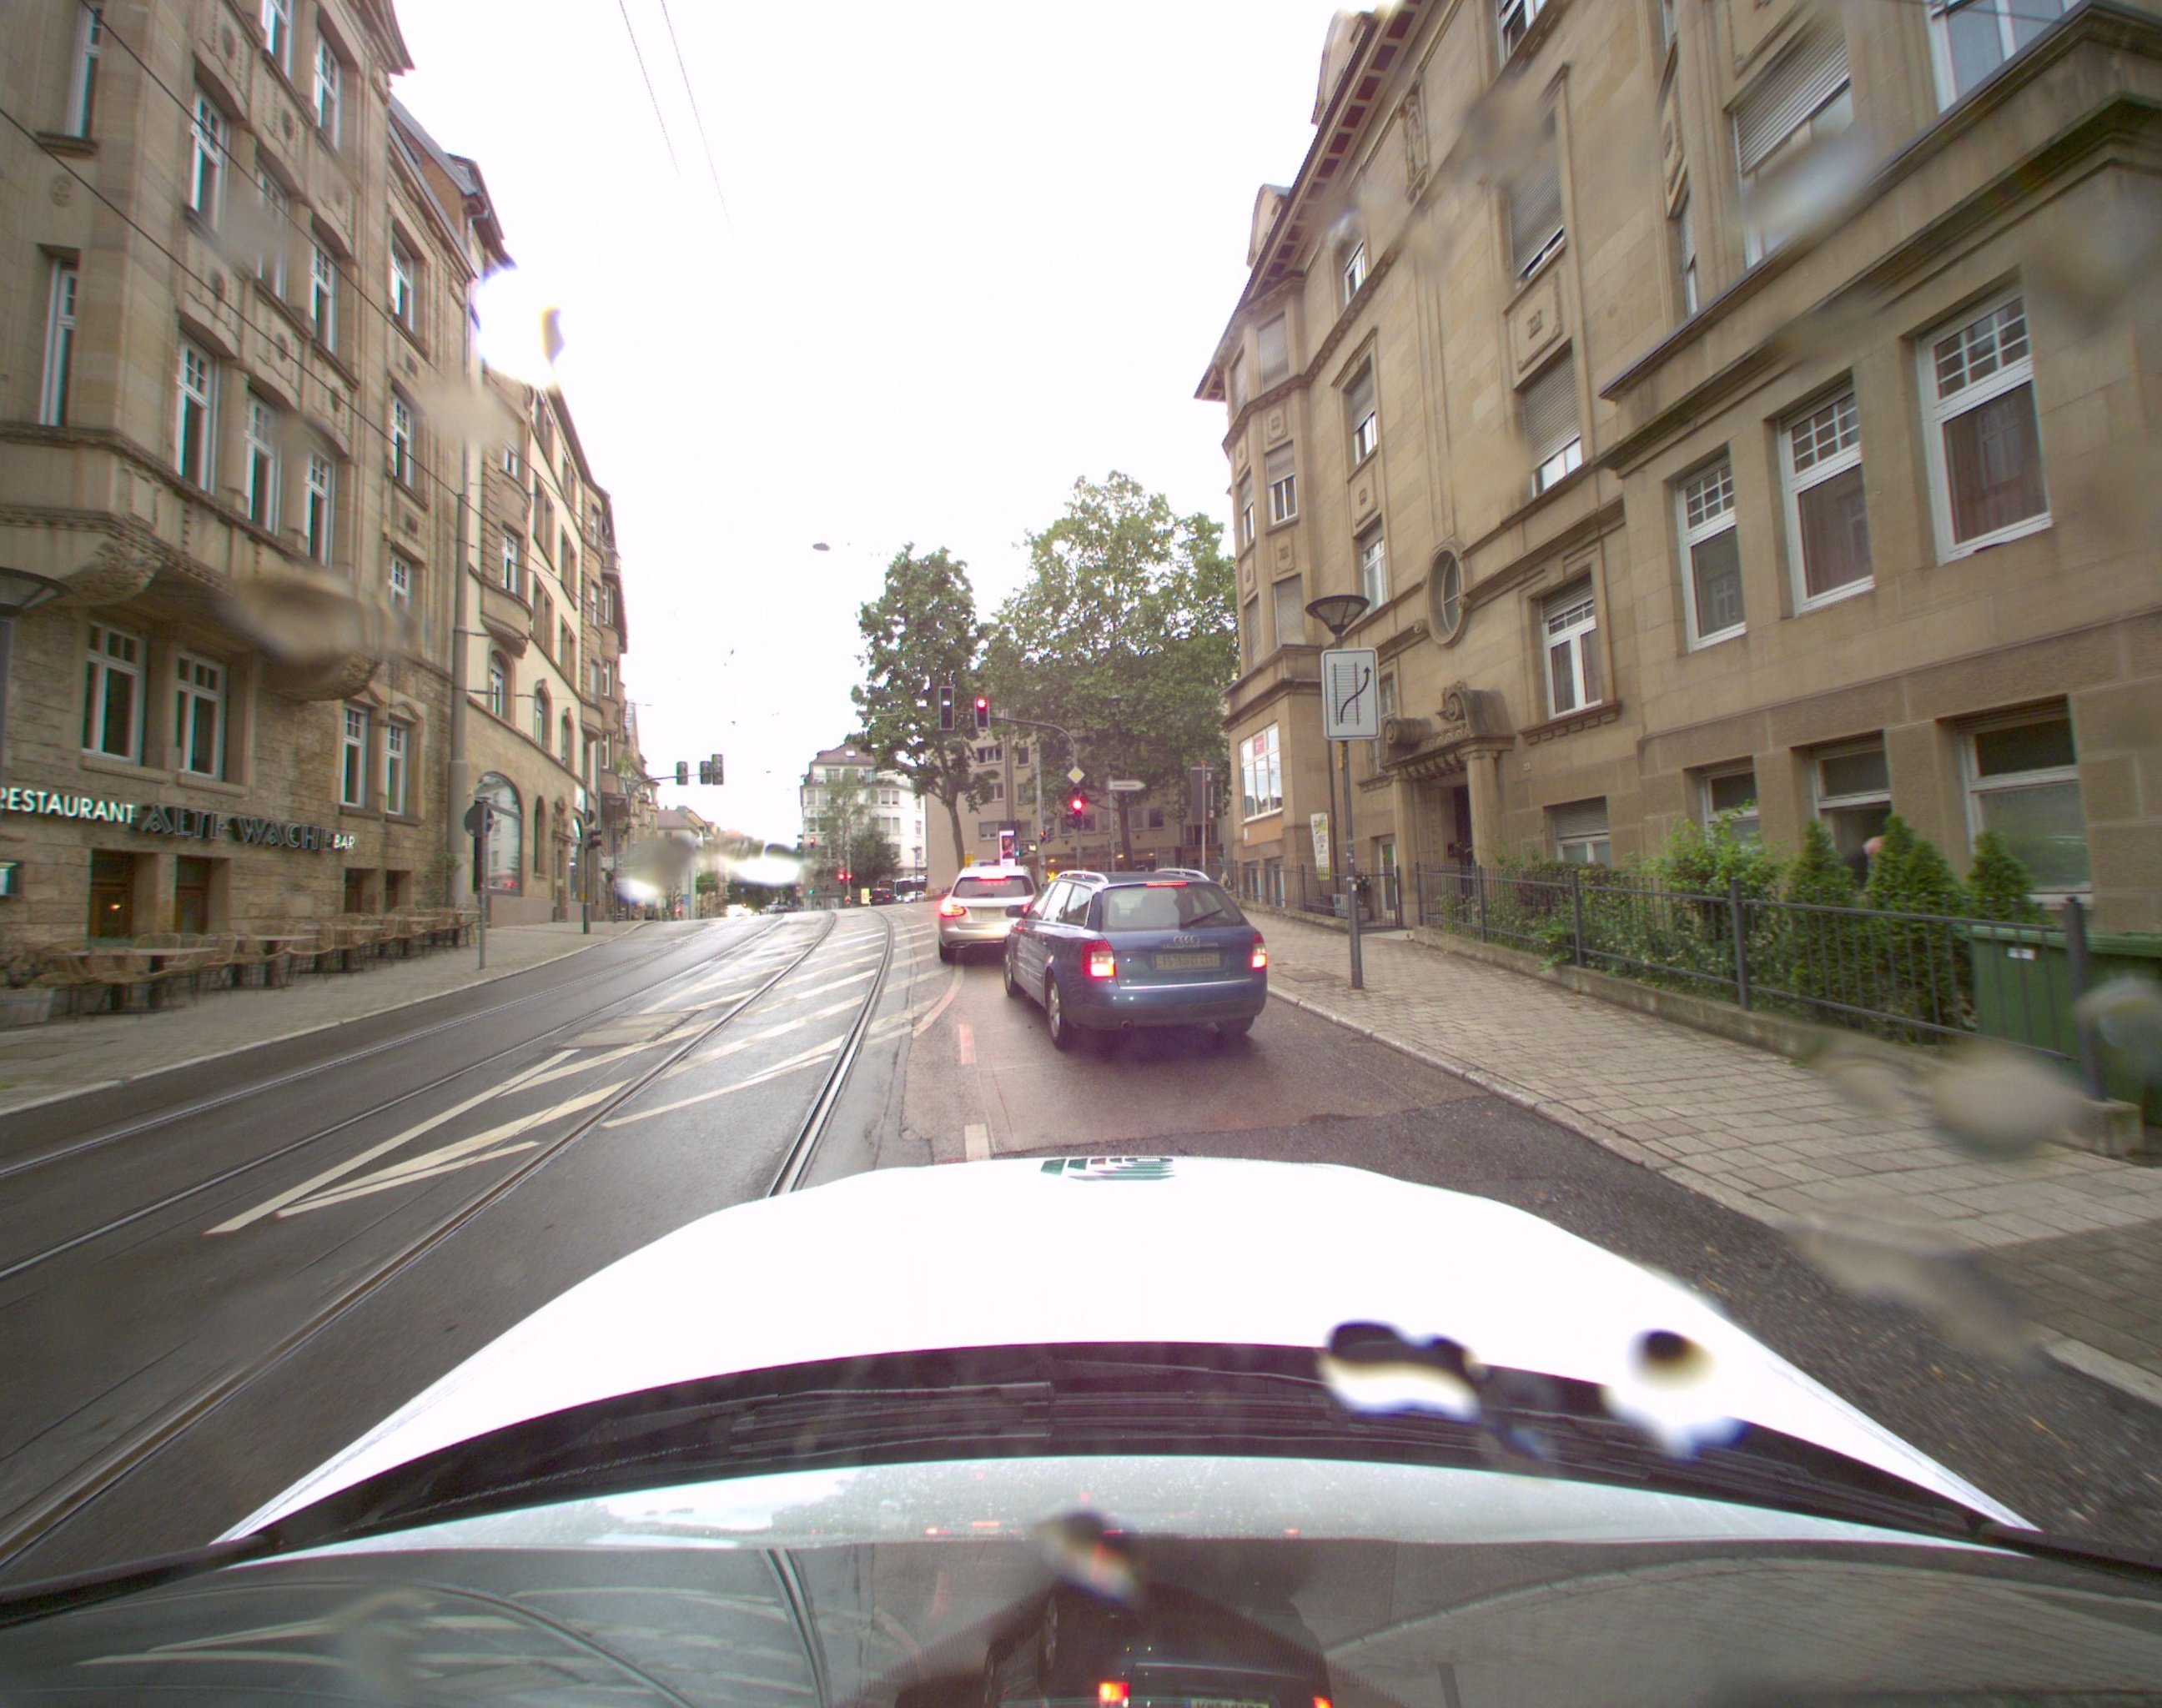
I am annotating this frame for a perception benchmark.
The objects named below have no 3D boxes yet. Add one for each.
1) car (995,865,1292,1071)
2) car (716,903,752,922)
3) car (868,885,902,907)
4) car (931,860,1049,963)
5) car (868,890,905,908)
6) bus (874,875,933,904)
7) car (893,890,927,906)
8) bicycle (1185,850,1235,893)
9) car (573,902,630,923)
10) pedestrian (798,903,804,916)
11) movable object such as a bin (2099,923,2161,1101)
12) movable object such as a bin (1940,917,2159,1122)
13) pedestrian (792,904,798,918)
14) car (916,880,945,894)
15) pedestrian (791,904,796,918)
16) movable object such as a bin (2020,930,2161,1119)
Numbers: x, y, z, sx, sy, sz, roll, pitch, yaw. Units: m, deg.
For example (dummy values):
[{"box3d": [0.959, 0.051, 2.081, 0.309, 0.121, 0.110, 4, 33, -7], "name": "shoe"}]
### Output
[{"box3d": [0.297, 0.847, 8.024, 1.713, 1.415, 4.016, -1, 0, -14], "name": "car"}, {"box3d": [-32.503, 5.464, 76.117, 1.809, 1.510, 4.610, -2, 0, -40], "name": "car"}, {"box3d": [-16.619, 3.519, 69.193, 1.788, 1.510, 4.000, -5, 0, 1], "name": "car"}, {"box3d": [-1.495, 0.852, 13.760, 1.708, 1.456, 3.546, -1, 0, -5], "name": "car"}, {"box3d": [-20.179, 4.696, 84.811, 1.779, 1.614, 4.020, -3, 0, 20], "name": "car"}, {"box3d": [-20.723, 4.130, 95.631, 2.832, 2.861, 8.771, -3, 0, 16], "name": "bus"}, {"box3d": [-18.775, 4.842, 89.625, 1.779, 1.510, 4.020, -3, 0, 20], "name": "car"}, {"box3d": [3.874, 0.522, 24.480, 1.300, 1.173, 0.524, -4, 0, -11], "name": "bicycle"}, {"box3d": [-40.621, 4.939, 69.115, 4.008, 1.510, 1.785, -2, 0, -26], "name": "car"}, {"box3d": [-37.280, 7.422, 108.399, 0.650, 1.661, 0.646, -1, -1, -19], "name": "pedestrian"}, {"box3d": [6.622, 0.945, 4.791, 0.537, 1.026, 0.602, 2, -2, -10], "name": "movable object such as a bin"}, {"box3d": [5.414, 0.892, 4.581, 0.537, 1.026, 0.602, 2, -2, -10], "name": "movable object such as a bin"}, {"box3d": [-34.537, 6.911, 98.362, 0.650, 1.661, 0.646, -1, -1, -19], "name": "pedestrian"}, {"box3d": [-19.038, 4.144, 103.312, 1.779, 1.510, 4.020, -3, 0, 20], "name": "car"}, {"box3d": [-35.611, 7.056, 100.892, 0.650, 1.661, 0.646, -1, -1, -19], "name": "pedestrian"}, {"box3d": [5.989, 0.946, 4.668, 0.537, 0.968, 0.602, 2, -2, -10], "name": "movable object such as a bin"}]
